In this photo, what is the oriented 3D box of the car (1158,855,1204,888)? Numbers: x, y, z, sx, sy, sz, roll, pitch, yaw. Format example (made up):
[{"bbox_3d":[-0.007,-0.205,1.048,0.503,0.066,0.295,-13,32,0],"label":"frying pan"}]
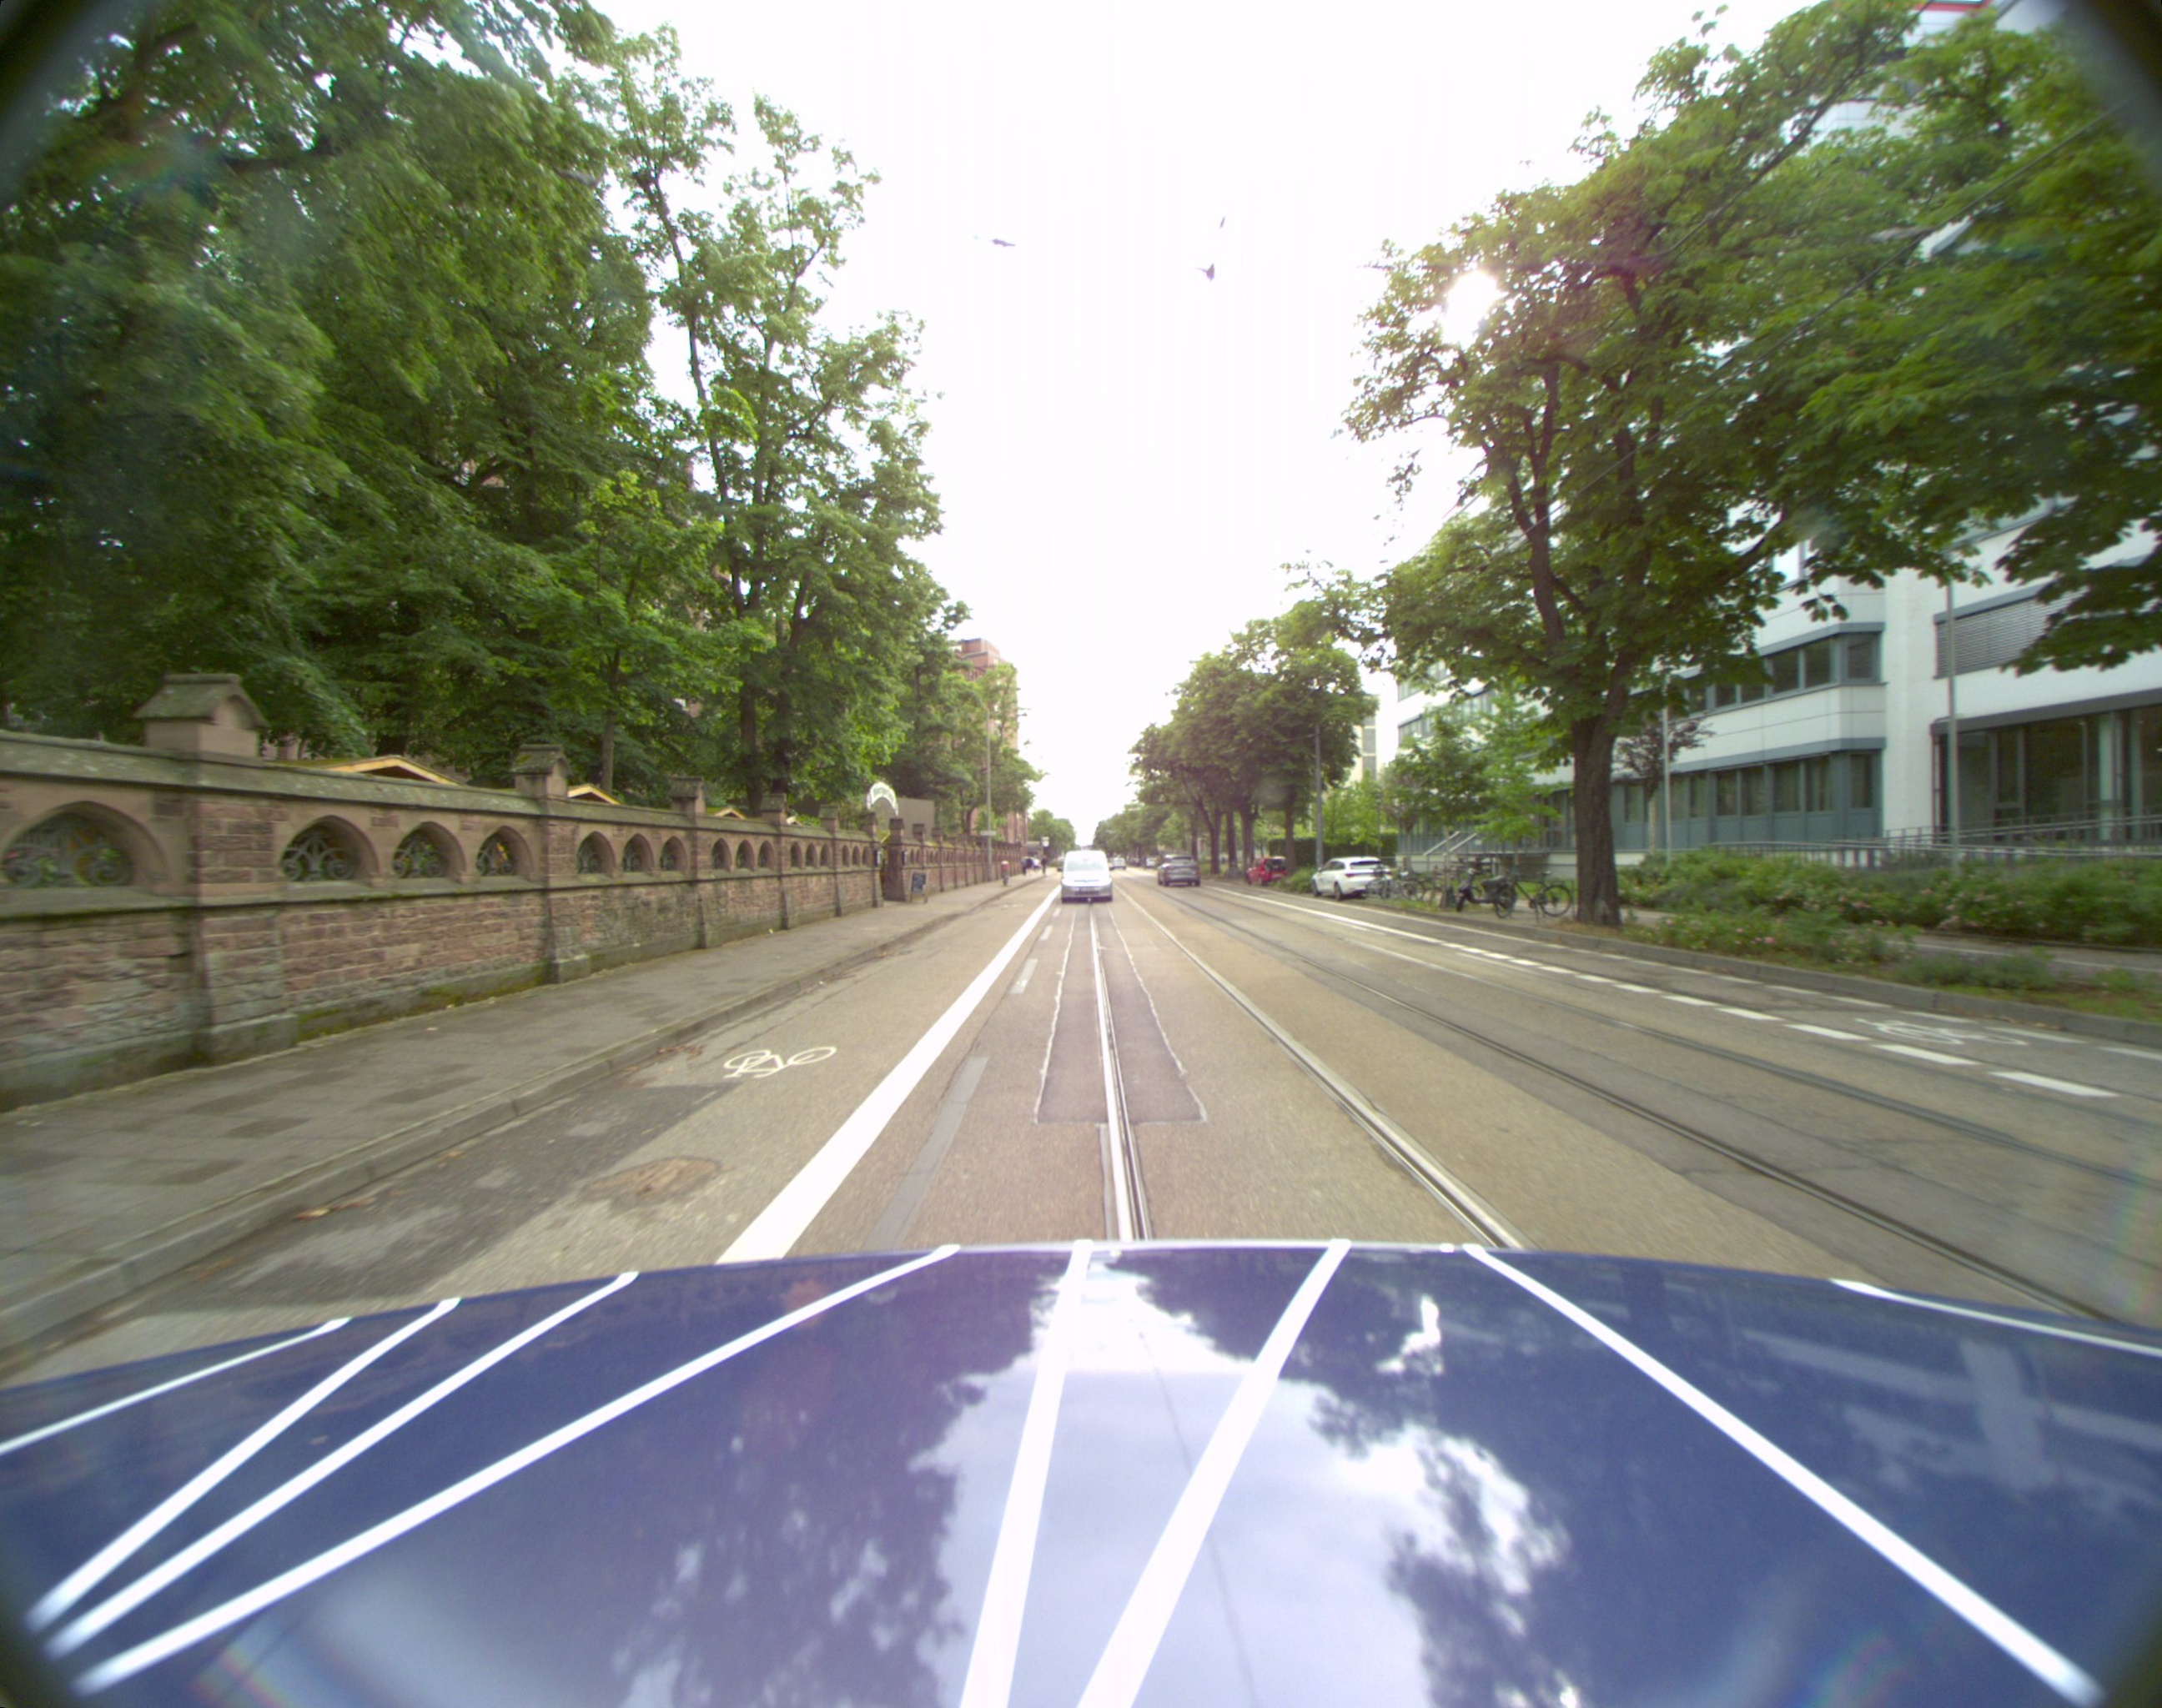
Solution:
[{"bbox_3d":[5.173,0.880,39.900,1.846,1.644,4.389,1,0,1],"label":"car"}]

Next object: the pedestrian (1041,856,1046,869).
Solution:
[{"bbox_3d":[-4.565,1.045,91.649,0.529,1.548,0.489,2,1,-2],"label":"pedestrian"}]

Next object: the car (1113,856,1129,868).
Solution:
[{"bbox_3d":[5.231,1.076,99.329,1.745,1.490,4.260,-1,0,-1],"label":"car"}]

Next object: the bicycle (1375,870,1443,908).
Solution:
[{"bbox_3d":[9.890,1.058,22.943,1.811,1.094,0.632,0,1,-6],"label":"bicycle"}]

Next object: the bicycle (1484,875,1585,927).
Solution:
[{"bbox_3d":[9.954,1.023,16.695,1.834,1.047,0.741,-2,0,-8],"label":"bicycle"}]

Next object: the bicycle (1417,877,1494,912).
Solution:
[{"bbox_3d":[10.123,1.090,20.548,1.811,0.894,0.632,0,1,-6],"label":"bicycle"}]

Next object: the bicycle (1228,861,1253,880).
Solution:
[{"bbox_3d":[10.203,1.059,48.629,1.473,1.134,0.617,-3,1,-1],"label":"bicycle"}]

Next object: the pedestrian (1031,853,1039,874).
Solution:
[{"bbox_3d":[-4.196,0.857,69.168,0.723,1.834,0.897,0,1,-2],"label":"pedestrian"}]

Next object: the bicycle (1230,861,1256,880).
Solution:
[{"bbox_3d":[10.240,1.063,48.123,1.473,1.134,0.617,-1,1,-1],"label":"bicycle"}]

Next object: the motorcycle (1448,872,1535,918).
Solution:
[{"bbox_3d":[10.234,1.007,18.969,1.793,1.044,0.732,-2,1,-6],"label":"motorcycle"}]

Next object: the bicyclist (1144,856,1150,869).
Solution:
[{"bbox_3d":[8.252,1.085,95.159,0.636,1.528,0.955,-3,1,5],"label":"bicyclist"}]

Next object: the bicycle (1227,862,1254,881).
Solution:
[{"bbox_3d":[9.907,1.107,47.124,1.474,1.085,0.616,-3,1,-12],"label":"bicycle"}]

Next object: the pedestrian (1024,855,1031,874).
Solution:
[{"bbox_3d":[-4.858,0.940,68.993,0.559,1.646,0.771,0,1,-2],"label":"pedestrian"}]

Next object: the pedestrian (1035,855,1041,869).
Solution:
[{"bbox_3d":[-5.170,0.962,91.528,0.669,1.703,0.997,2,1,-2],"label":"pedestrian"}]

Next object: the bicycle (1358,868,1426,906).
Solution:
[{"bbox_3d":[9.815,1.031,24.032,1.868,1.180,0.632,0,1,5],"label":"bicycle"}]

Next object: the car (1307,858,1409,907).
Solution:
[{"bbox_3d":[9.694,0.939,27.042,1.886,1.485,4.753,-3,0,1],"label":"car"}]

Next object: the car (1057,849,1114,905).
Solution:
[{"bbox_3d":[0.181,0.777,28.270,1.850,1.797,4.936,-3,1,1],"label":"car"}]

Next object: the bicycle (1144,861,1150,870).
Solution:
[{"bbox_3d":[8.273,1.493,95.168,0.636,1.044,1.994,-3,1,5],"label":"bicycle"}]

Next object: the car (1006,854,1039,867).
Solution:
[{"bbox_3d":[-7.741,0.848,100.806,3.993,1.608,2.002,2,1,12],"label":"car"}]

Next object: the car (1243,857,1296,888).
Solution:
[{"bbox_3d":[9.937,0.947,40.264,1.632,1.439,3.756,-4,1,-3],"label":"car"}]
